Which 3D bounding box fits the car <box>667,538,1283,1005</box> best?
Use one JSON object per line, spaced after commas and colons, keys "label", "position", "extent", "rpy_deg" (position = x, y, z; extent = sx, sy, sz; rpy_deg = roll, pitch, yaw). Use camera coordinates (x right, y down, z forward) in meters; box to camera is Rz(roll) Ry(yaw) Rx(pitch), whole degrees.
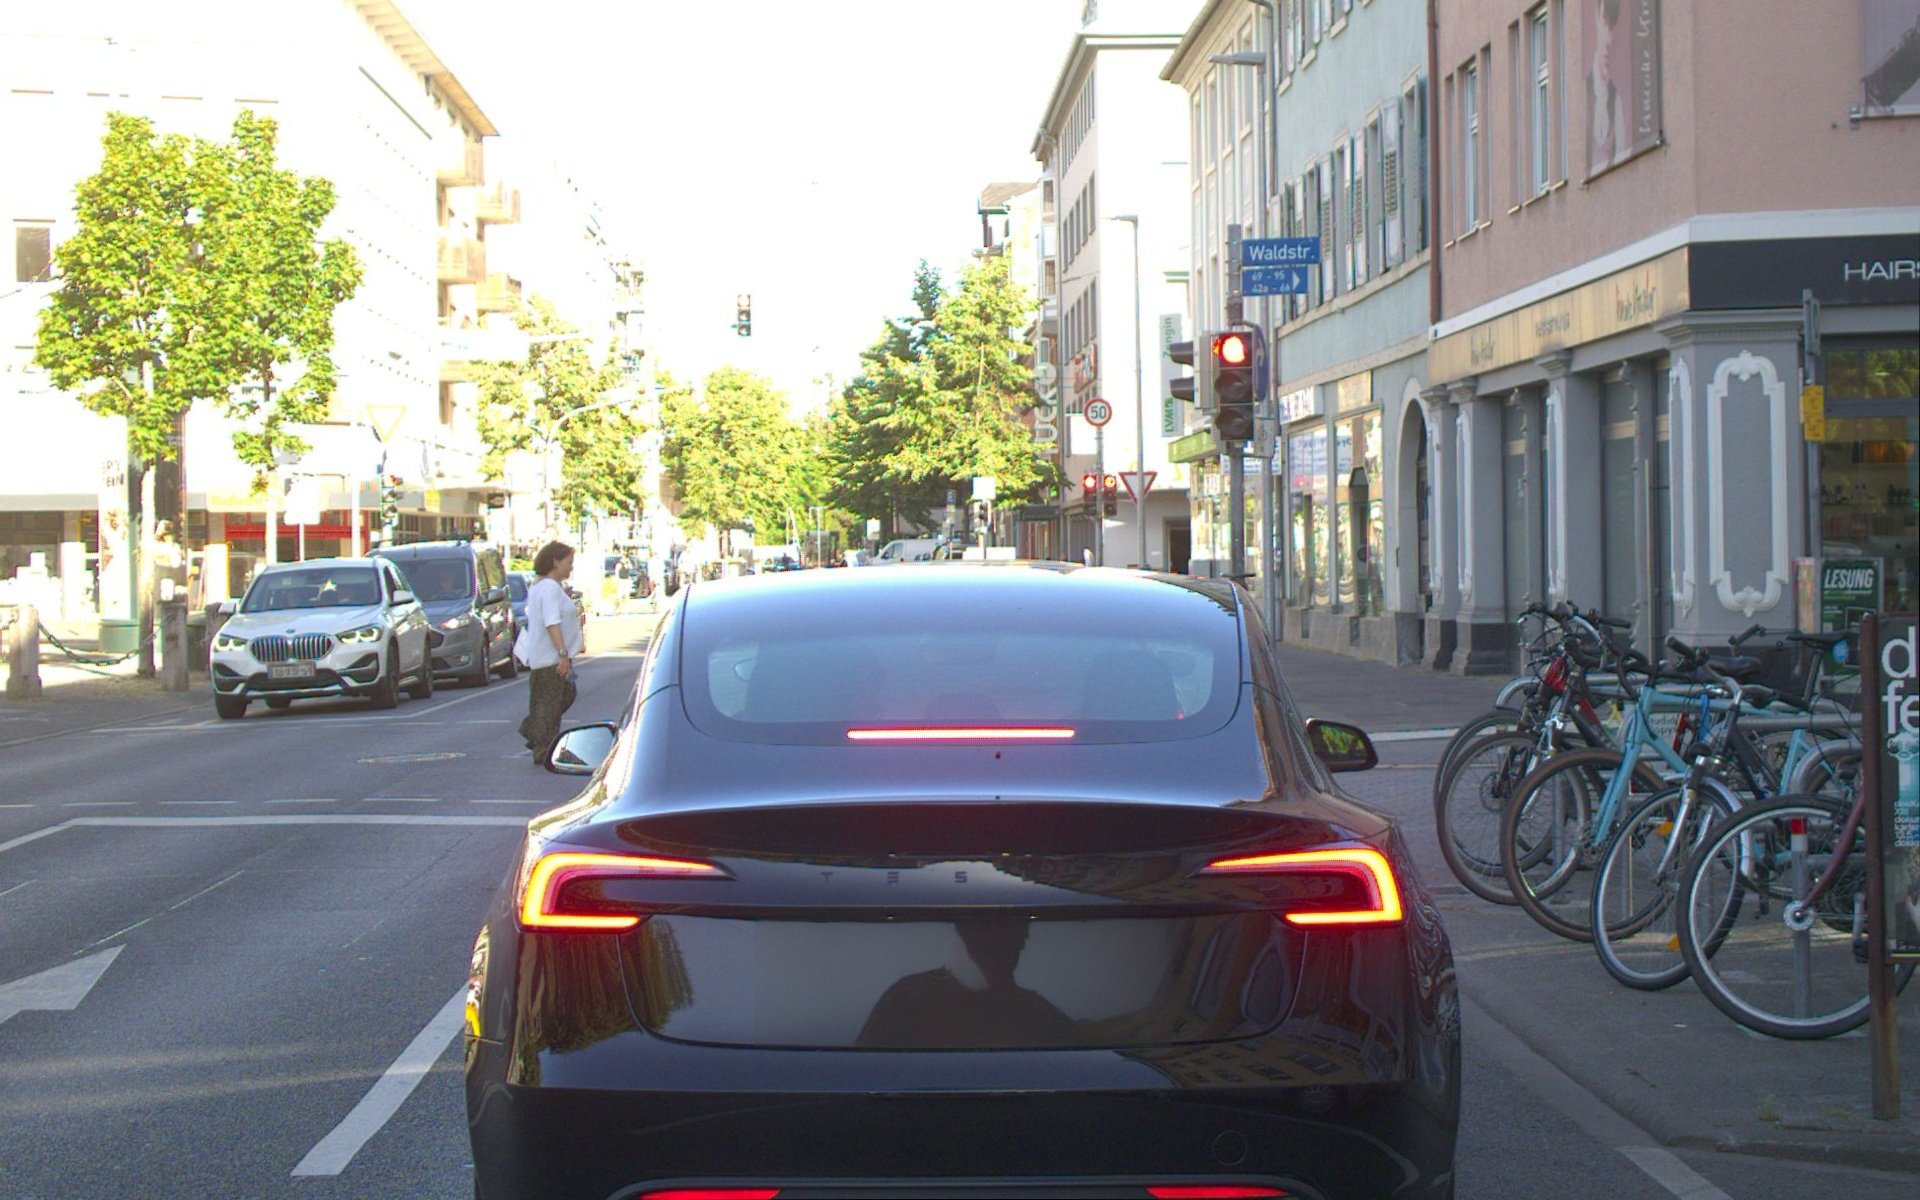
{"label": "car", "position": [-0.019, 0.520, 13.206], "extent": [1.993, 1.507, 4.176], "rpy_deg": [0, 1, -2]}

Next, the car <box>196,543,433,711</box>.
{"label": "car", "position": [-6.749, 0.234, 36.353], "extent": [1.807, 1.550, 4.310], "rpy_deg": [-4, 1, -3]}

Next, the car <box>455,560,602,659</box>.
{"label": "car", "position": [-7.111, 0.125, 57.021], "extent": [1.993, 1.431, 4.675], "rpy_deg": [-4, 1, -3]}

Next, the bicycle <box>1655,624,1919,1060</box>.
{"label": "bicycle", "position": [3.031, 0.670, 9.984], "extent": [1.886, 1.189, 0.691], "rpy_deg": [-2, 1, 5]}

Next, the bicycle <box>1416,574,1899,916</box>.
{"label": "bicycle", "position": [2.739, 0.559, 13.646], "extent": [1.746, 1.262, 0.781], "rpy_deg": [-2, 1, 3]}

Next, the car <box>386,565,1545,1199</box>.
{"label": "car", "position": [-0.011, 0.655, 7.498], "extent": [1.848, 1.450, 4.000], "rpy_deg": [0, 1, -1]}

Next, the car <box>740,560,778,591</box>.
{"label": "car", "position": [-10.937, -1.356, 187.072], "extent": [1.993, 1.631, 4.001], "rpy_deg": [0, 1, -3]}

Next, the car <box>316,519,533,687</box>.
{"label": "car", "position": [-6.562, -0.012, 42.601], "extent": [1.834, 1.838, 4.674], "rpy_deg": [-4, 1, 0]}

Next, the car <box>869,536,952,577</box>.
{"label": "car", "position": [-2.416, -2.137, 167.551], "extent": [3.986, 2.007, 2.000], "rpy_deg": [0, 1, -2]}

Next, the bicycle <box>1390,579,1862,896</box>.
{"label": "bicycle", "position": [2.809, 0.570, 14.677], "extent": [1.862, 1.253, 0.832], "rpy_deg": [-2, 1, 5]}

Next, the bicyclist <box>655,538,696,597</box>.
{"label": "bicyclist", "position": [-7.910, -0.904, 95.612], "extent": [1.126, 1.623, 0.965], "rpy_deg": [0, 1, -3]}

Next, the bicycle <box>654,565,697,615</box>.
{"label": "bicycle", "position": [-7.893, -0.289, 95.528], "extent": [1.111, 1.340, 4.001], "rpy_deg": [0, 1, -3]}

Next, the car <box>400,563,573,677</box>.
{"label": "car", "position": [-6.746, 0.243, 49.430], "extent": [1.993, 1.405, 4.675], "rpy_deg": [-4, 1, -3]}

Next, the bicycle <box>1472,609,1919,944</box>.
{"label": "bicycle", "position": [2.805, 0.624, 12.468], "extent": [1.798, 1.120, 0.781], "rpy_deg": [-2, 1, 5]}

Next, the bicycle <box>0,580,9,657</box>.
{"label": "bicycle", "position": [-15.712, 0.284, 52.229], "extent": [2.323, 1.152, 0.843], "rpy_deg": [0, 1, -5]}

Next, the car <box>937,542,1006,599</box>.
{"label": "car", "position": [0.316, -0.871, 100.688], "extent": [1.993, 1.623, 4.000], "rpy_deg": [0, 1, 0]}

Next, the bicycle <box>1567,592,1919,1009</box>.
{"label": "bicycle", "position": [2.885, 0.621, 11.116], "extent": [1.722, 1.263, 0.790], "rpy_deg": [-2, 1, 5]}

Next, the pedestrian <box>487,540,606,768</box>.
{"label": "pedestrian", "position": [-2.866, 0.360, 23.818], "extent": [0.747, 1.547, 0.699], "rpy_deg": [0, 1, -13]}
